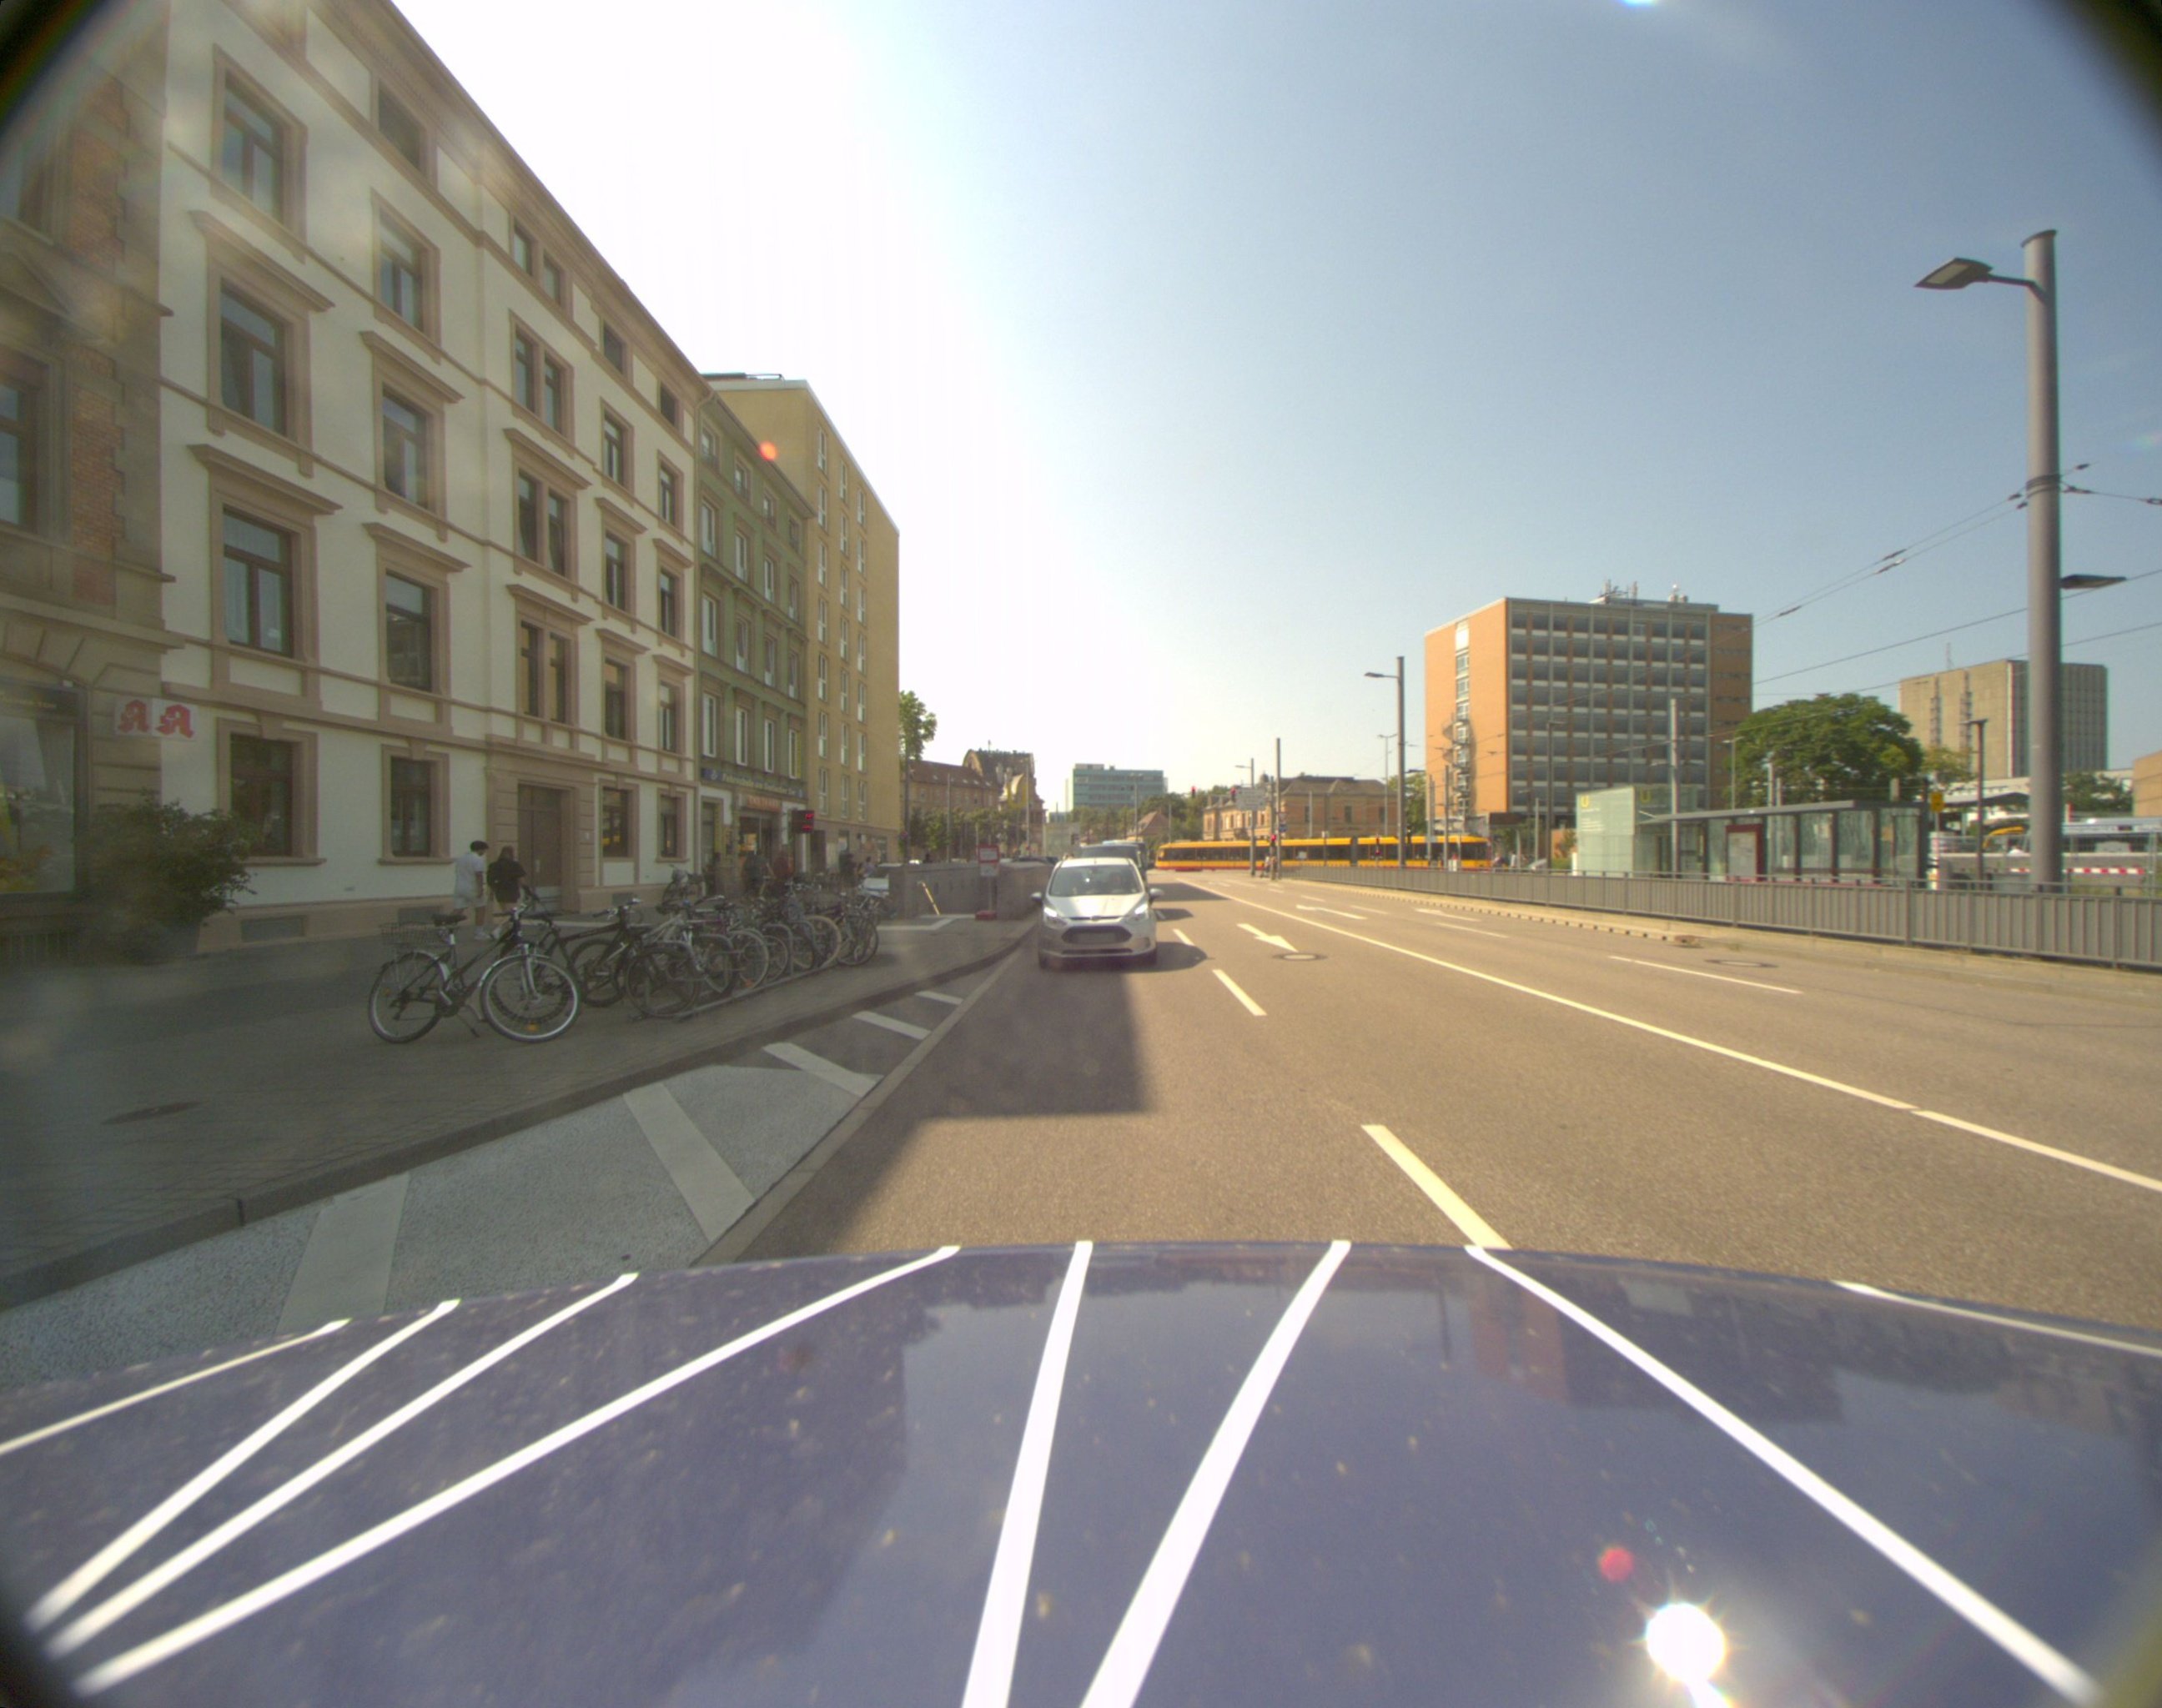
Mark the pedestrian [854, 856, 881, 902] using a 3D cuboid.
[{"bbox_3d":[-7.699,0.903,27.392,0.645,1.619,0.797,1,1,9],"label":"pedestrian"}]

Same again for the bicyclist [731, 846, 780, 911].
[{"bbox_3d":[-8.157,0.606,19.082,0.721,1.577,1.103,-1,0,2],"label":"bicyclist"}]

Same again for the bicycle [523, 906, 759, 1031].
[{"bbox_3d":[-4.157,1.071,7.259,1.841,1.054,0.657,-2,0,2],"label":"bicycle"}]

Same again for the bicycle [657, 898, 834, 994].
[{"bbox_3d":[-4.076,1.114,9.314,1.841,1.050,0.657,-2,0,2],"label":"bicycle"}]

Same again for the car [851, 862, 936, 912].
[{"bbox_3d":[-6.175,1.037,25.415,1.666,1.418,3.934,2,0,3],"label":"car"}]

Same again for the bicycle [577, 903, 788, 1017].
[{"bbox_3d":[-4.133,1.088,7.957,1.841,1.047,0.657,-2,0,2],"label":"bicycle"}]

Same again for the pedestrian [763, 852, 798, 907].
[{"bbox_3d":[-9.633,0.811,24.401,0.772,1.724,0.881,1,1,-1],"label":"pedestrian"}]

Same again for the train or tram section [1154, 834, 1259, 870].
[{"bbox_3d":[13.745,-0.171,84.648,12.331,3.743,2.004,0,0,42],"label":"train or tram section"}]

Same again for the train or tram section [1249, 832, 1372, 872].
[{"bbox_3d":[22.703,-0.204,76.162,12.331,3.743,2.004,0,0,44],"label":"train or tram section"}]

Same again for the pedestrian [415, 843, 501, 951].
[{"bbox_3d":[-10.691,0.717,13.067,0.727,1.793,0.928,1,1,-2],"label":"pedestrian"}]

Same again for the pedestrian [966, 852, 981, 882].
[{"bbox_3d":[-5.943,0.702,42.000,0.645,1.619,0.797,1,1,2],"label":"pedestrian"}]

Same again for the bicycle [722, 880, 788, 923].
[{"bbox_3d":[-8.146,1.163,19.094,0.721,0.948,2.001,-1,0,3],"label":"bicycle"}]

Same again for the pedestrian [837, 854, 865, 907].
[{"bbox_3d":[-7.792,0.880,25.798,0.688,1.748,0.796,1,1,0],"label":"pedestrian"}]

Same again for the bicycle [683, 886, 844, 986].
[{"bbox_3d":[-4.121,1.052,9.933,1.841,1.196,0.549,-2,1,2],"label":"bicycle"}]

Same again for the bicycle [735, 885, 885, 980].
[{"bbox_3d":[-3.663,1.051,10.327,1.841,1.196,0.435,-2,1,2],"label":"bicycle"}]

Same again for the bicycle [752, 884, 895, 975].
[{"bbox_3d":[-3.632,1.055,10.763,1.841,1.196,0.435,-2,1,2],"label":"bicycle"}]

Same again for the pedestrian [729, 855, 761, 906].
[{"bbox_3d":[-10.865,0.831,24.594,0.645,1.619,0.797,1,1,2],"label":"pedestrian"}]

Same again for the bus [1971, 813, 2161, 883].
[{"bbox_3d":[52.397,-0.356,35.801,3.357,3.275,13.371,-3,0,-44],"label":"bus"}]

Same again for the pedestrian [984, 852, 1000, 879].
[{"bbox_3d":[-5.342,0.705,45.670,0.644,1.619,0.798,1,1,22],"label":"pedestrian"}]

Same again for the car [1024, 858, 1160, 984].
[{"bbox_3d":[0.212,0.901,12.085,1.728,1.579,4.000,-3,0,2],"label":"car"}]

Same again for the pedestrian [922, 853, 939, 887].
[{"bbox_3d":[-7.193,0.763,36.408,0.645,1.619,0.796,1,1,0],"label":"pedestrian"}]

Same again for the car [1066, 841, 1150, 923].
[{"bbox_3d":[0.740,0.674,20.906,1.998,1.953,4.816,-2,0,2],"label":"car"}]

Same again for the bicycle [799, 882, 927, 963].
[{"bbox_3d":[-3.510,1.091,12.301,1.841,1.196,0.637,-2,1,2],"label":"bicycle"}]

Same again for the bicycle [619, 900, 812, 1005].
[{"bbox_3d":[-4.115,1.096,8.624,1.841,1.054,0.657,-2,0,2],"label":"bicycle"}]

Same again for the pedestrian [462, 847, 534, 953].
[{"bbox_3d":[-10.056,0.773,13.128,0.645,1.761,0.796,1,1,-3],"label":"pedestrian"}]

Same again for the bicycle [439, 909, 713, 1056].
[{"bbox_3d":[-4.185,1.048,6.385,1.807,1.069,0.699,-2,0,1],"label":"bicycle"}]

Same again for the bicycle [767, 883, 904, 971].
[{"bbox_3d":[-3.613,1.067,11.224,1.841,1.212,0.435,-2,1,2],"label":"bicycle"}]

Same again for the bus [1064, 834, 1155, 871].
[{"bbox_3d":[2.418,-0.079,71.351,2.925,3.119,12.319,-2,0,-26],"label":"bus"}]

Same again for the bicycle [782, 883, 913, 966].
[{"bbox_3d":[-3.580,1.074,11.702,1.841,1.196,0.435,-2,1,2],"label":"bicycle"}]

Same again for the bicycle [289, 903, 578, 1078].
[{"bbox_3d":[-4.889,1.007,5.807,1.607,1.178,0.690,-2,0,3],"label":"bicycle"}]

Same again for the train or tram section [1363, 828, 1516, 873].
[{"bbox_3d":[31.458,-0.265,67.508,12.331,3.743,2.004,0,0,44],"label":"train or tram section"}]
